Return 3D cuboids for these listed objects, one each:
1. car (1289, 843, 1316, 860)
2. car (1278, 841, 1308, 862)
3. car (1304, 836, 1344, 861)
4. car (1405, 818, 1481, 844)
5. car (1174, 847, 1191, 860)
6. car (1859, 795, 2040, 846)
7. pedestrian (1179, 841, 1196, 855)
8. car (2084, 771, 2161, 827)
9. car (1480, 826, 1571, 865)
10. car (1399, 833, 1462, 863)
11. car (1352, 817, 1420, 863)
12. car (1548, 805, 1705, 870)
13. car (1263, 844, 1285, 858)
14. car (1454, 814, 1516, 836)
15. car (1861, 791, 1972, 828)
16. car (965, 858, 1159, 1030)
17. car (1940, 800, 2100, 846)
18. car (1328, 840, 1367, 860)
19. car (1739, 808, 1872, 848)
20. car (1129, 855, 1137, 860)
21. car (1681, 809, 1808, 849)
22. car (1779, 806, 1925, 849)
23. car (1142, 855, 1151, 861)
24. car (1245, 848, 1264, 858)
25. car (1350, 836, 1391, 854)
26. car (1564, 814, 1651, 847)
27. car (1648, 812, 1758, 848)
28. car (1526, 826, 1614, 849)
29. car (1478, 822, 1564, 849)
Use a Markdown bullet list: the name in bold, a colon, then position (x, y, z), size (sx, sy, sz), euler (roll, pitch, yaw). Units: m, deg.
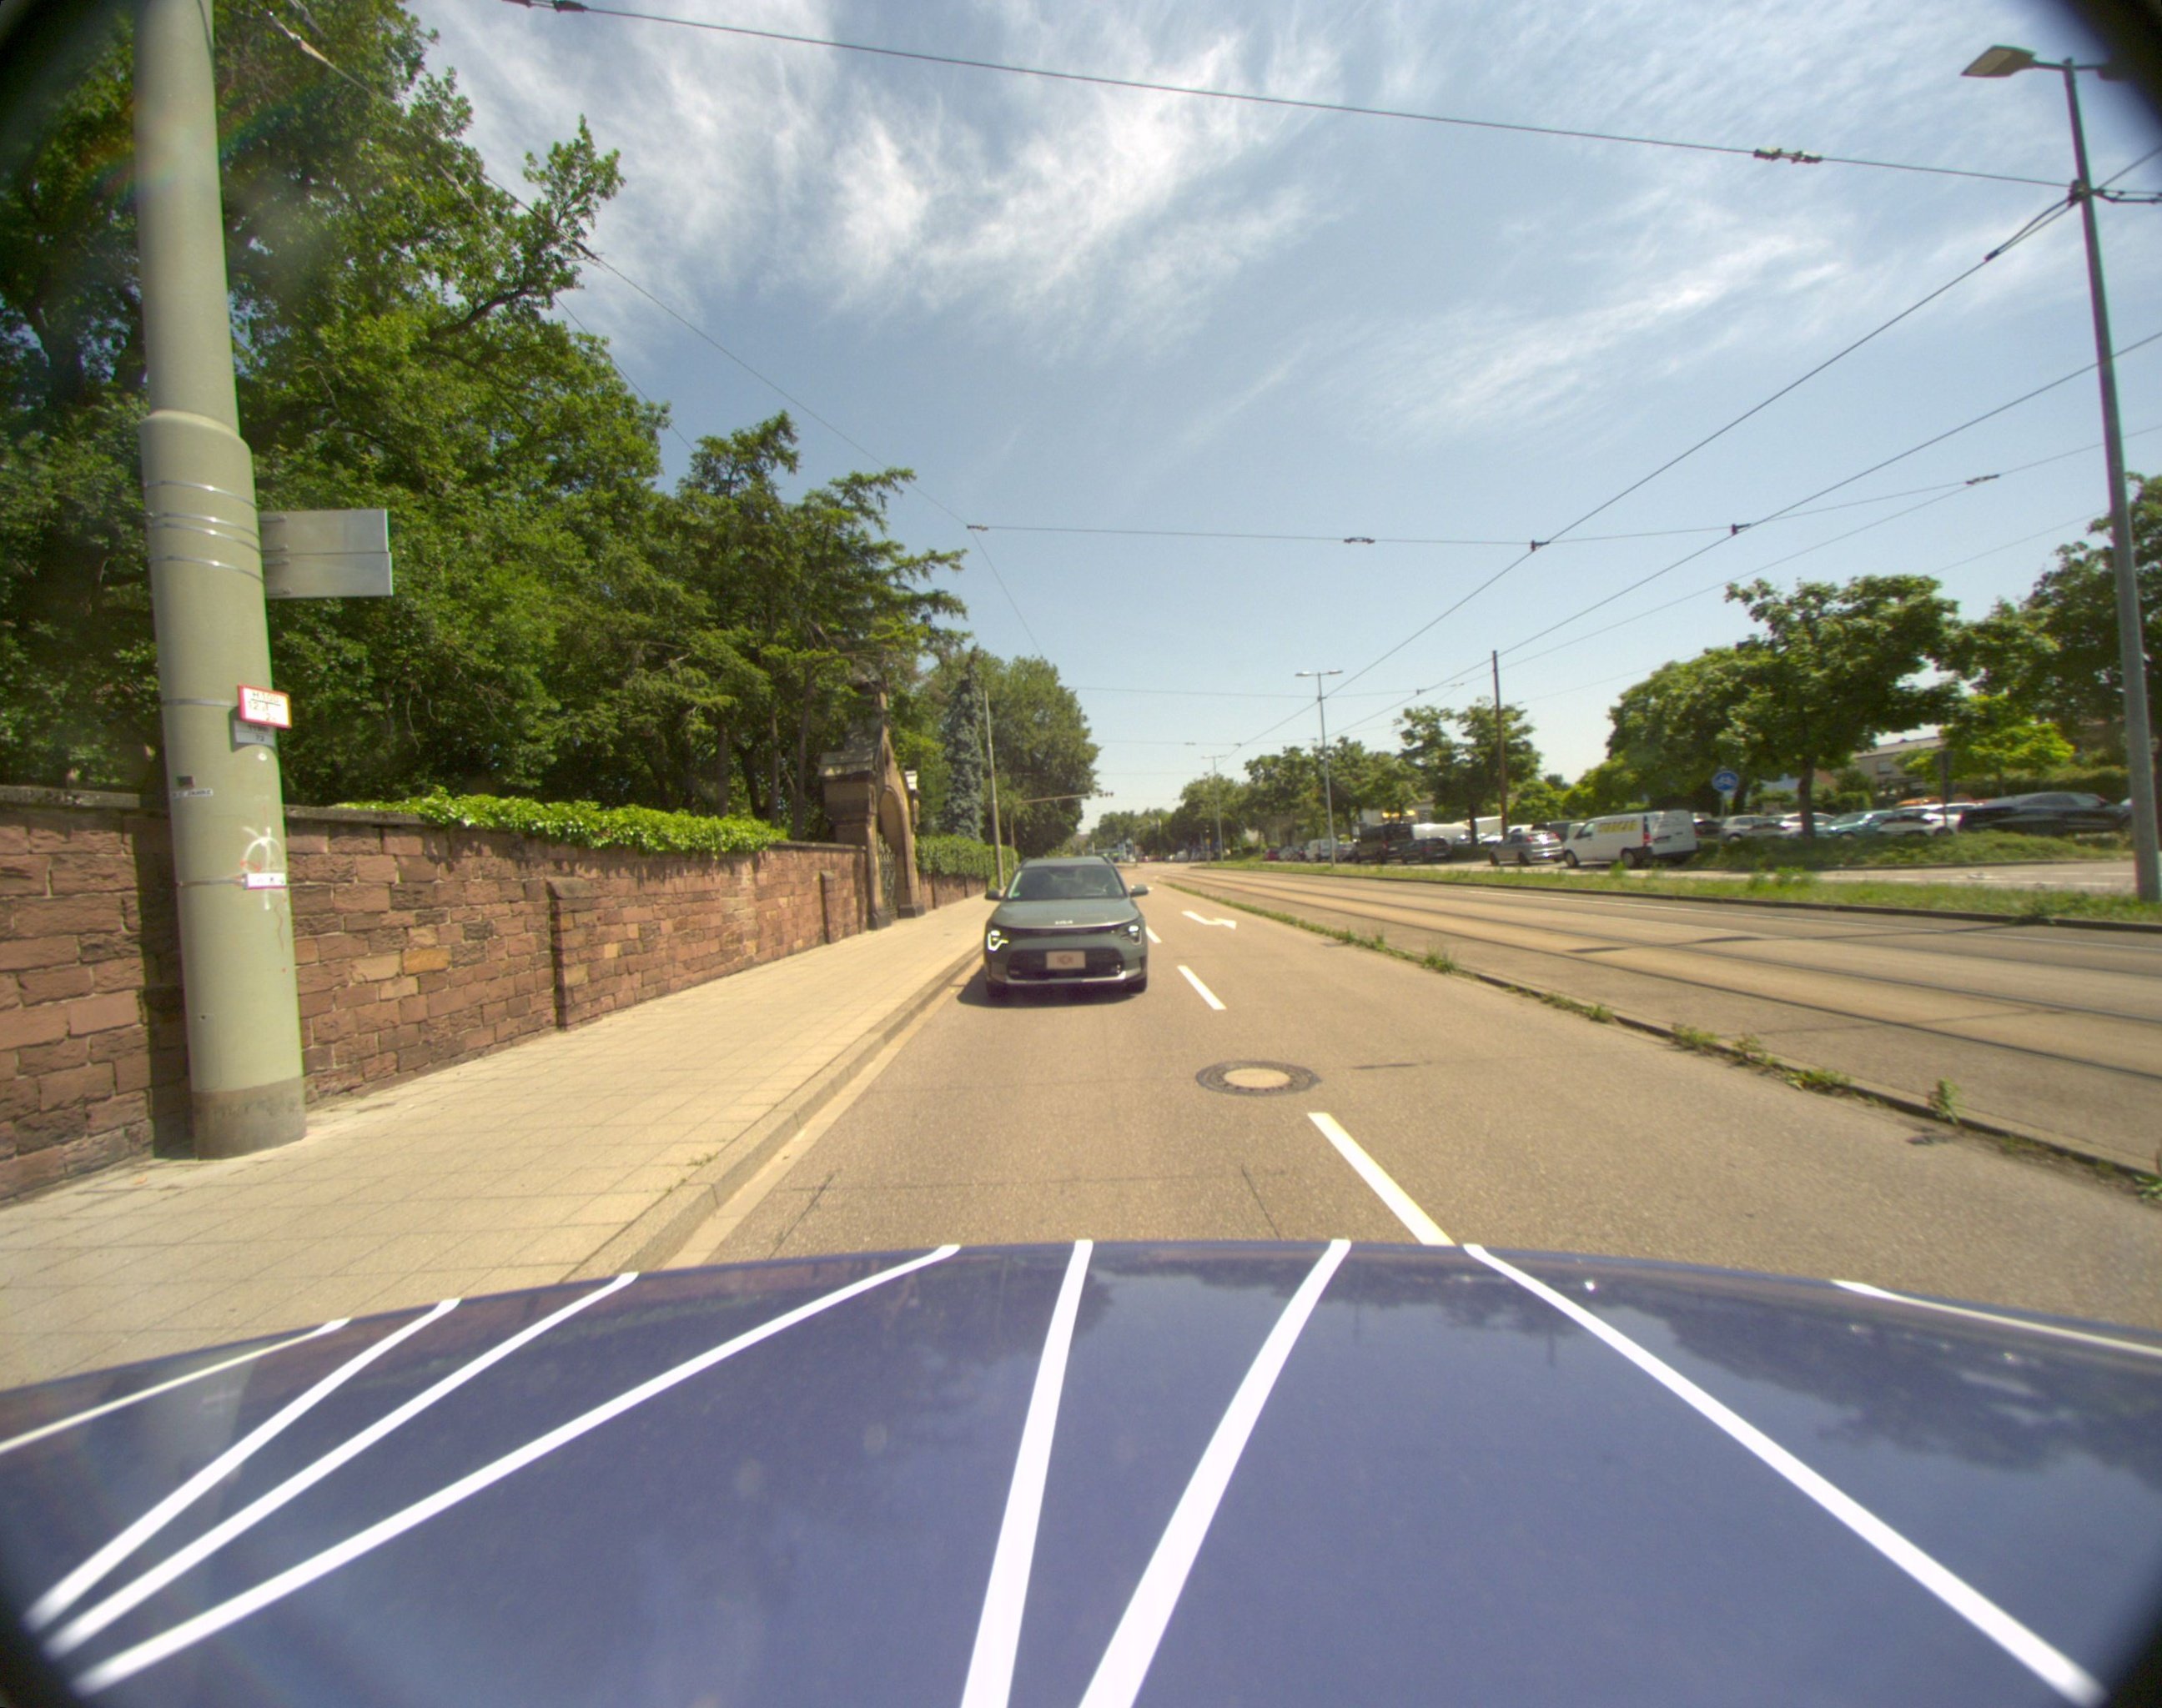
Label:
- **car**: position (20.332, -0.279, 69.817), size (1.429, 1.470, 3.262), euler (-3, 1, 1)
- **car**: position (20.753, -0.271, 74.595), size (1.635, 1.882, 4.496), euler (-3, 1, 1)
- **car**: position (20.476, -0.505, 64.320), size (1.924, 1.937, 4.817), euler (-3, 1, 2)
- **car**: position (30.760, -1.914, 64.654), size (5.434, 1.944, 2.029), euler (-3, 1, 2)
- **car**: position (15.970, -0.147, 119.798), size (1.821, 1.979, 4.212), euler (-3, 1, -3)
- **car**: position (30.971, -1.174, 27.196), size (4.171, 1.481, 1.984), euler (-4, 0, -1)
- **pedestrian**: position (16.466, -0.923, 118.013), size (1.998, 2.002, 3.999), euler (-3, 1, 0)
- **car**: position (43.200, -2.205, 29.649), size (5.120, 2.058, 2.226), euler (-3, 1, 1)
- **car**: position (20.005, -0.364, 34.402), size (1.654, 1.494, 4.125), euler (-7, 0, 1)
- **car**: position (20.179, -0.379, 44.052), size (1.976, 1.568, 3.752), euler (-3, 1, 1)
- **car**: position (20.110, -0.903, 50.412), size (2.243, 2.821, 5.667), euler (-3, 1, 1)
- **car**: position (19.880, -0.571, 28.078), size (1.880, 1.999, 5.344), euler (-7, 0, 1)
- **car**: position (20.580, -0.346, 81.093), size (1.582, 1.471, 3.423), euler (-3, 1, 3)
- **car**: position (45.022, -3.228, 84.760), size (5.744, 2.051, 2.147), euler (-3, 1, -2)
- **car**: position (43.580, -2.323, 39.665), size (4.129, 1.643, 1.692), euler (-3, 0, -5)
- **car**: position (-0.198, 0.901, 9.654), size (1.824, 1.577, 4.287), euler (-3, 0, 0)
- **car**: position (30.375, -0.995, 24.630), size (3.423, 1.225, 1.643), euler (-4, 0, -6)
- **car**: position (20.470, -0.330, 58.469), size (1.767, 1.456, 3.608), euler (-3, 1, 2)
- **car**: position (30.780, -1.103, 32.338), size (4.146, 1.481, 1.859), euler (-3, 1, -6)
- **car**: position (14.058, 0.917, 206.155), size (1.781, 1.310, 3.753), euler (-3, 1, -4)
- **car**: position (30.275, -1.123, 34.750), size (4.163, 1.481, 2.023), euler (-4, 0, -6)
- **car**: position (30.254, -1.021, 29.882), size (4.040, 1.481, 1.912), euler (-3, 1, -6)
- **car**: position (15.920, 0.980, 184.557), size (1.820, 1.471, 3.423), euler (-3, 1, 3)
- **car**: position (21.242, -0.138, 93.141), size (1.582, 1.152, 3.423), euler (-3, 1, 3)
- **car**: position (32.965, -0.984, 86.481), size (3.999, 1.863, 1.715), euler (-3, 1, -5)
- **car**: position (31.477, -1.379, 45.490), size (3.998, 1.708, 1.797), euler (-4, 0, -3)
- **car**: position (30.711, -1.169, 37.581), size (4.075, 1.481, 1.831), euler (-4, 0, -6)
- **car**: position (30.861, -1.056, 48.001), size (4.261, 1.137, 2.032), euler (-4, 0, -3)
- **car**: position (31.097, -1.283, 53.770), size (4.926, 1.567, 2.000), euler (-4, 0, -2)
